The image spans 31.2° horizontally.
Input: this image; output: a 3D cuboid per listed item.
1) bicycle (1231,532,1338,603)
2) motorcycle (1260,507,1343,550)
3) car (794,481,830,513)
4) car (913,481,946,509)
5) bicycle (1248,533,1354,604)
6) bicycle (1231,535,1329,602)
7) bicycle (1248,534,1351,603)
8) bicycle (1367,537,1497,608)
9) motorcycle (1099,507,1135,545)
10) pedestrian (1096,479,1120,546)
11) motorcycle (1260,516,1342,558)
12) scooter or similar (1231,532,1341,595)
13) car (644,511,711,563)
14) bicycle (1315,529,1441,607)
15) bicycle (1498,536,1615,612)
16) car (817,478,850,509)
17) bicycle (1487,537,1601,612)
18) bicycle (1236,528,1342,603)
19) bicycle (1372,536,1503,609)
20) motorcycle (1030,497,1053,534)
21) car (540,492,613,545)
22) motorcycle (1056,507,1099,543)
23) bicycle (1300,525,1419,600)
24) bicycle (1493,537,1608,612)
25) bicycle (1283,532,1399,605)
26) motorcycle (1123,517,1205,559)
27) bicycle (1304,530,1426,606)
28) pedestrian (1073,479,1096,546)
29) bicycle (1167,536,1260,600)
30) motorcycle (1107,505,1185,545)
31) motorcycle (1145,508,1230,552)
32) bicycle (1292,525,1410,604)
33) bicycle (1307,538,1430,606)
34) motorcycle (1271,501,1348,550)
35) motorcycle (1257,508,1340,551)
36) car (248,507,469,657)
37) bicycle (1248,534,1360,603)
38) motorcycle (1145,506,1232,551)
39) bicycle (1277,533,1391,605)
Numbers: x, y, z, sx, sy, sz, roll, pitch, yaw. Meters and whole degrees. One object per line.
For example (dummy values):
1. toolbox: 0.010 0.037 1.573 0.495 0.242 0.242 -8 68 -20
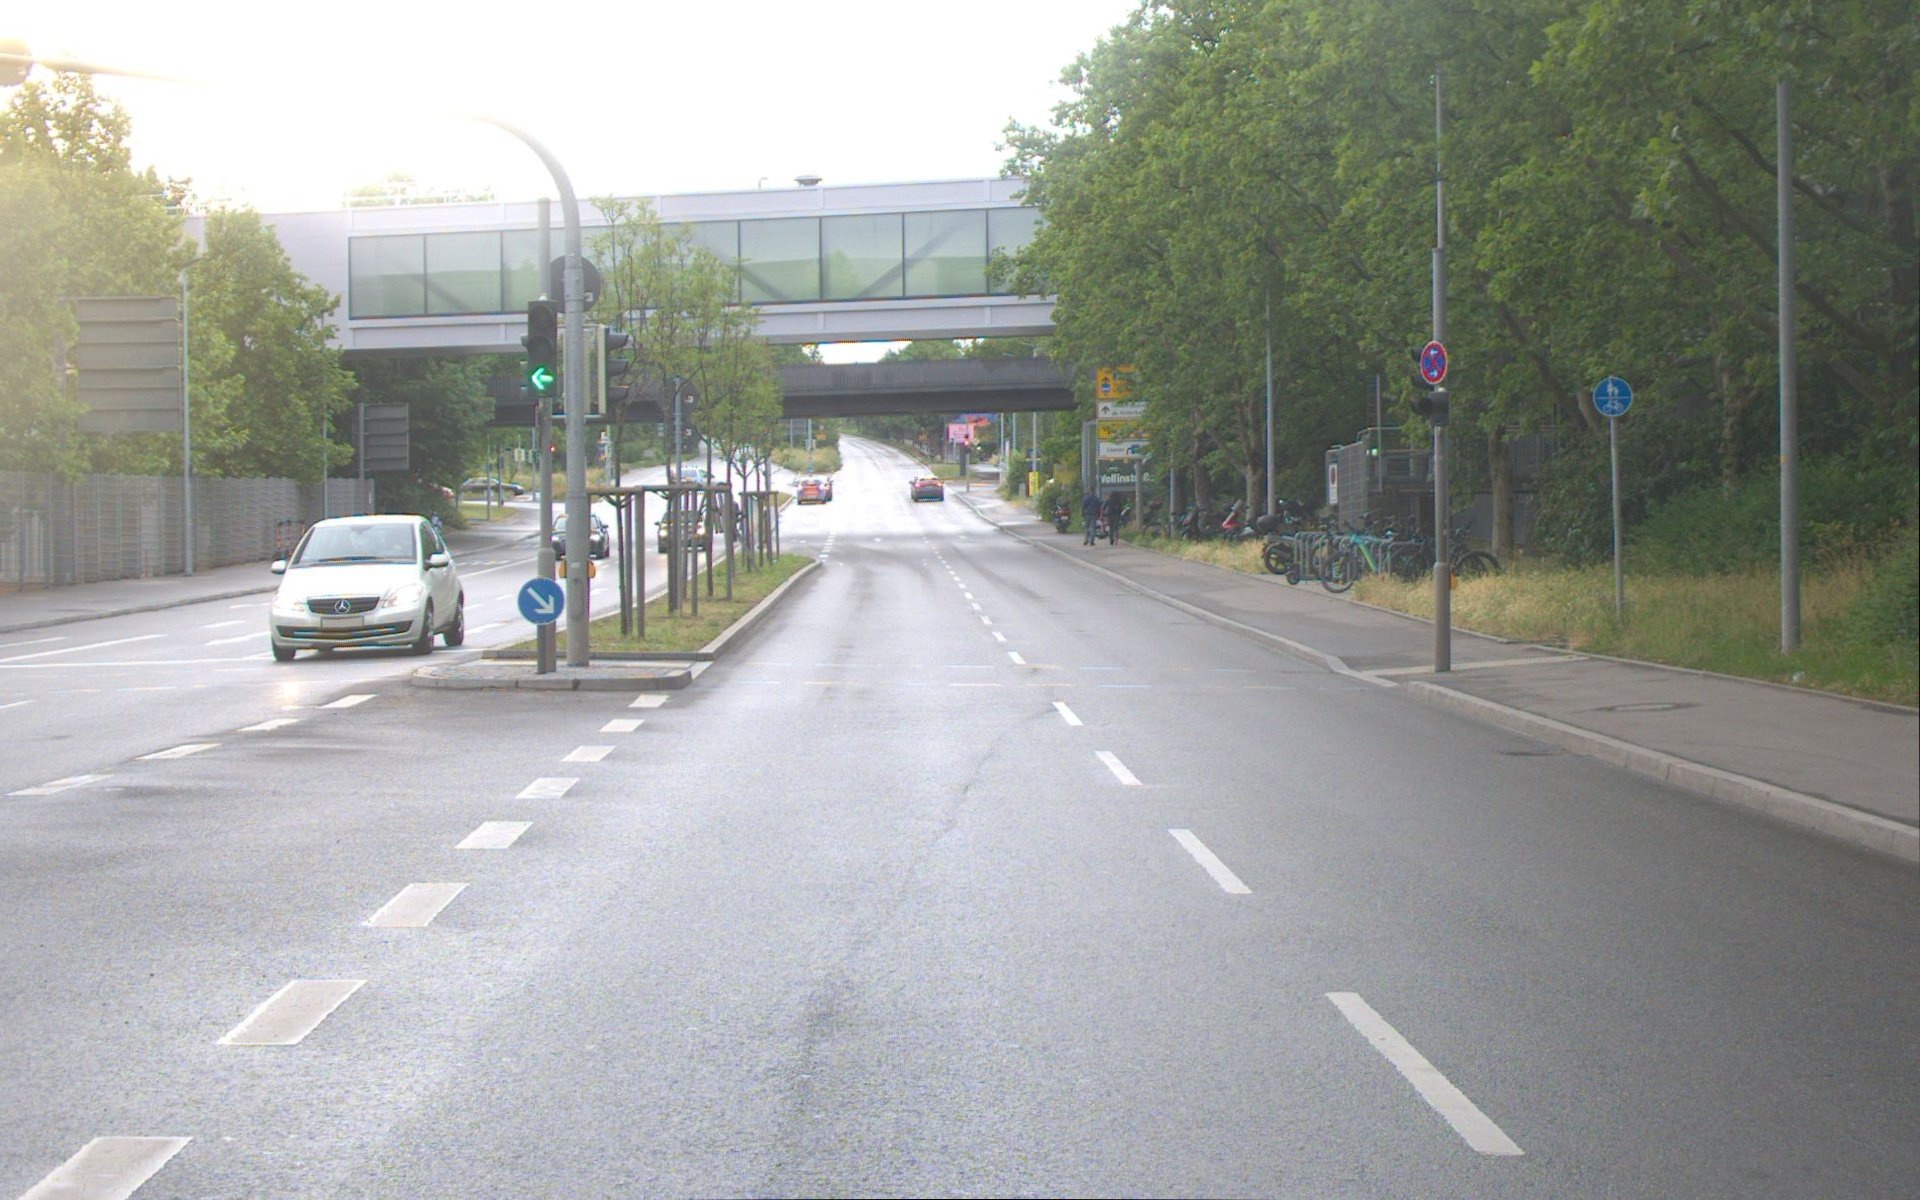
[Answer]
1. bicycle: 6.301 -0.631 66.866 1.990 1.324 0.576 2 0 0
2. motorcycle: 9.937 -2.080 99.957 2.369 1.198 0.722 -1 1 7
3. car: -8.919 -6.238 207.686 1.993 1.756 4.000 2 0 0
4. car: -1.800 -6.234 203.810 1.875 1.492 4.068 2 0 0
5. bicycle: 6.728 -0.621 67.809 1.990 1.324 0.576 2 0 0
6. bicycle: 6.637 -0.649 71.346 1.960 1.324 0.576 2 0 0
7. bicycle: 6.846 -0.635 69.397 1.990 1.324 0.576 2 0 0
8. bicycle: 7.608 -0.443 55.410 1.990 1.091 0.541 2 0 0
9. motorcycle: 5.532 -2.604 121.410 0.790 1.307 2.377 -1 1 -9
10. pedestrian: 4.458 -2.636 103.562 0.622 2.007 0.605 -1 1 0
11. motorcycle: 10.152 -1.876 102.334 2.369 1.198 0.722 -1 1 7
12. scooter or similar: 6.153 -0.685 64.936 1.990 1.134 0.541 2 0 0
13. car: -9.234 -2.066 112.535 1.877 1.619 3.779 -1 1 0
14. bicycle: 6.910 -0.531 56.869 1.990 1.212 0.541 2 0 0
15. bicycle: 10.916 -0.471 62.924 1.990 1.324 0.576 2 0 0
16. car: -7.898 -6.629 214.291 1.884 1.756 3.969 2 0 0
17. bicycle: 10.916 -0.476 64.268 1.990 1.324 0.576 2 0 0
18. bicycle: 6.555 -0.692 68.542 1.990 1.425 0.723 2 0 0
19. bicycle: 7.613 -0.441 54.841 1.990 1.091 0.541 2 0 0
20. motorcycle: 3.437 -3.562 145.615 0.790 1.528 2.377 -1 1 -2
21. car: -12.150 -2.575 109.034 1.877 1.619 3.779 -1 1 0
22. motorcycle: 4.326 -2.750 126.540 0.790 1.307 2.377 -2 1 -18
23. bicycle: 6.965 -0.655 59.974 1.990 1.237 0.541 2 0 0
24. bicycle: 10.909 -0.473 63.589 1.990 1.324 0.576 2 0 0
25. bicycle: 6.841 -0.564 61.828 1.990 1.237 0.541 2 0 0
26. motorcycle: 6.095 -1.851 102.519 2.369 1.198 0.722 -1 1 7
27. bicycle: 6.952 -0.546 59.058 1.990 1.229 0.541 2 0 0
28. pedestrian: 3.775 -2.640 104.026 0.622 2.007 0.605 -1 1 0
29. bicycle: 5.552 -0.699 75.362 1.963 1.324 0.654 2 0 0
30. motorcycle: 5.784 -2.329 106.832 2.369 1.198 0.722 -1 1 7
31. motorcycle: 6.495 -1.993 98.033 2.369 1.198 0.722 -1 1 7
32. bicycle: 6.945 -0.625 61.136 1.990 1.336 0.541 2 0 0
33. bicycle: 6.941 -0.479 58.477 1.990 1.091 0.541 2 0 0
34. motorcycle: 10.989 -2.346 108.010 2.369 1.471 0.722 -1 1 7
35. motorcycle: 9.965 -2.066 101.178 2.369 1.198 0.722 -1 1 7
36. car: -6.868 -0.238 39.576 1.877 1.619 3.779 -1 1 0
37. bicycle: 6.413 -0.586 64.152 1.990 1.237 0.541 2 0 0
38. motorcycle: 6.377 -2.000 95.932 2.369 1.198 0.722 -1 1 7
39. bicycle: 6.826 -0.568 62.777 1.990 1.237 0.541 2 0 0
